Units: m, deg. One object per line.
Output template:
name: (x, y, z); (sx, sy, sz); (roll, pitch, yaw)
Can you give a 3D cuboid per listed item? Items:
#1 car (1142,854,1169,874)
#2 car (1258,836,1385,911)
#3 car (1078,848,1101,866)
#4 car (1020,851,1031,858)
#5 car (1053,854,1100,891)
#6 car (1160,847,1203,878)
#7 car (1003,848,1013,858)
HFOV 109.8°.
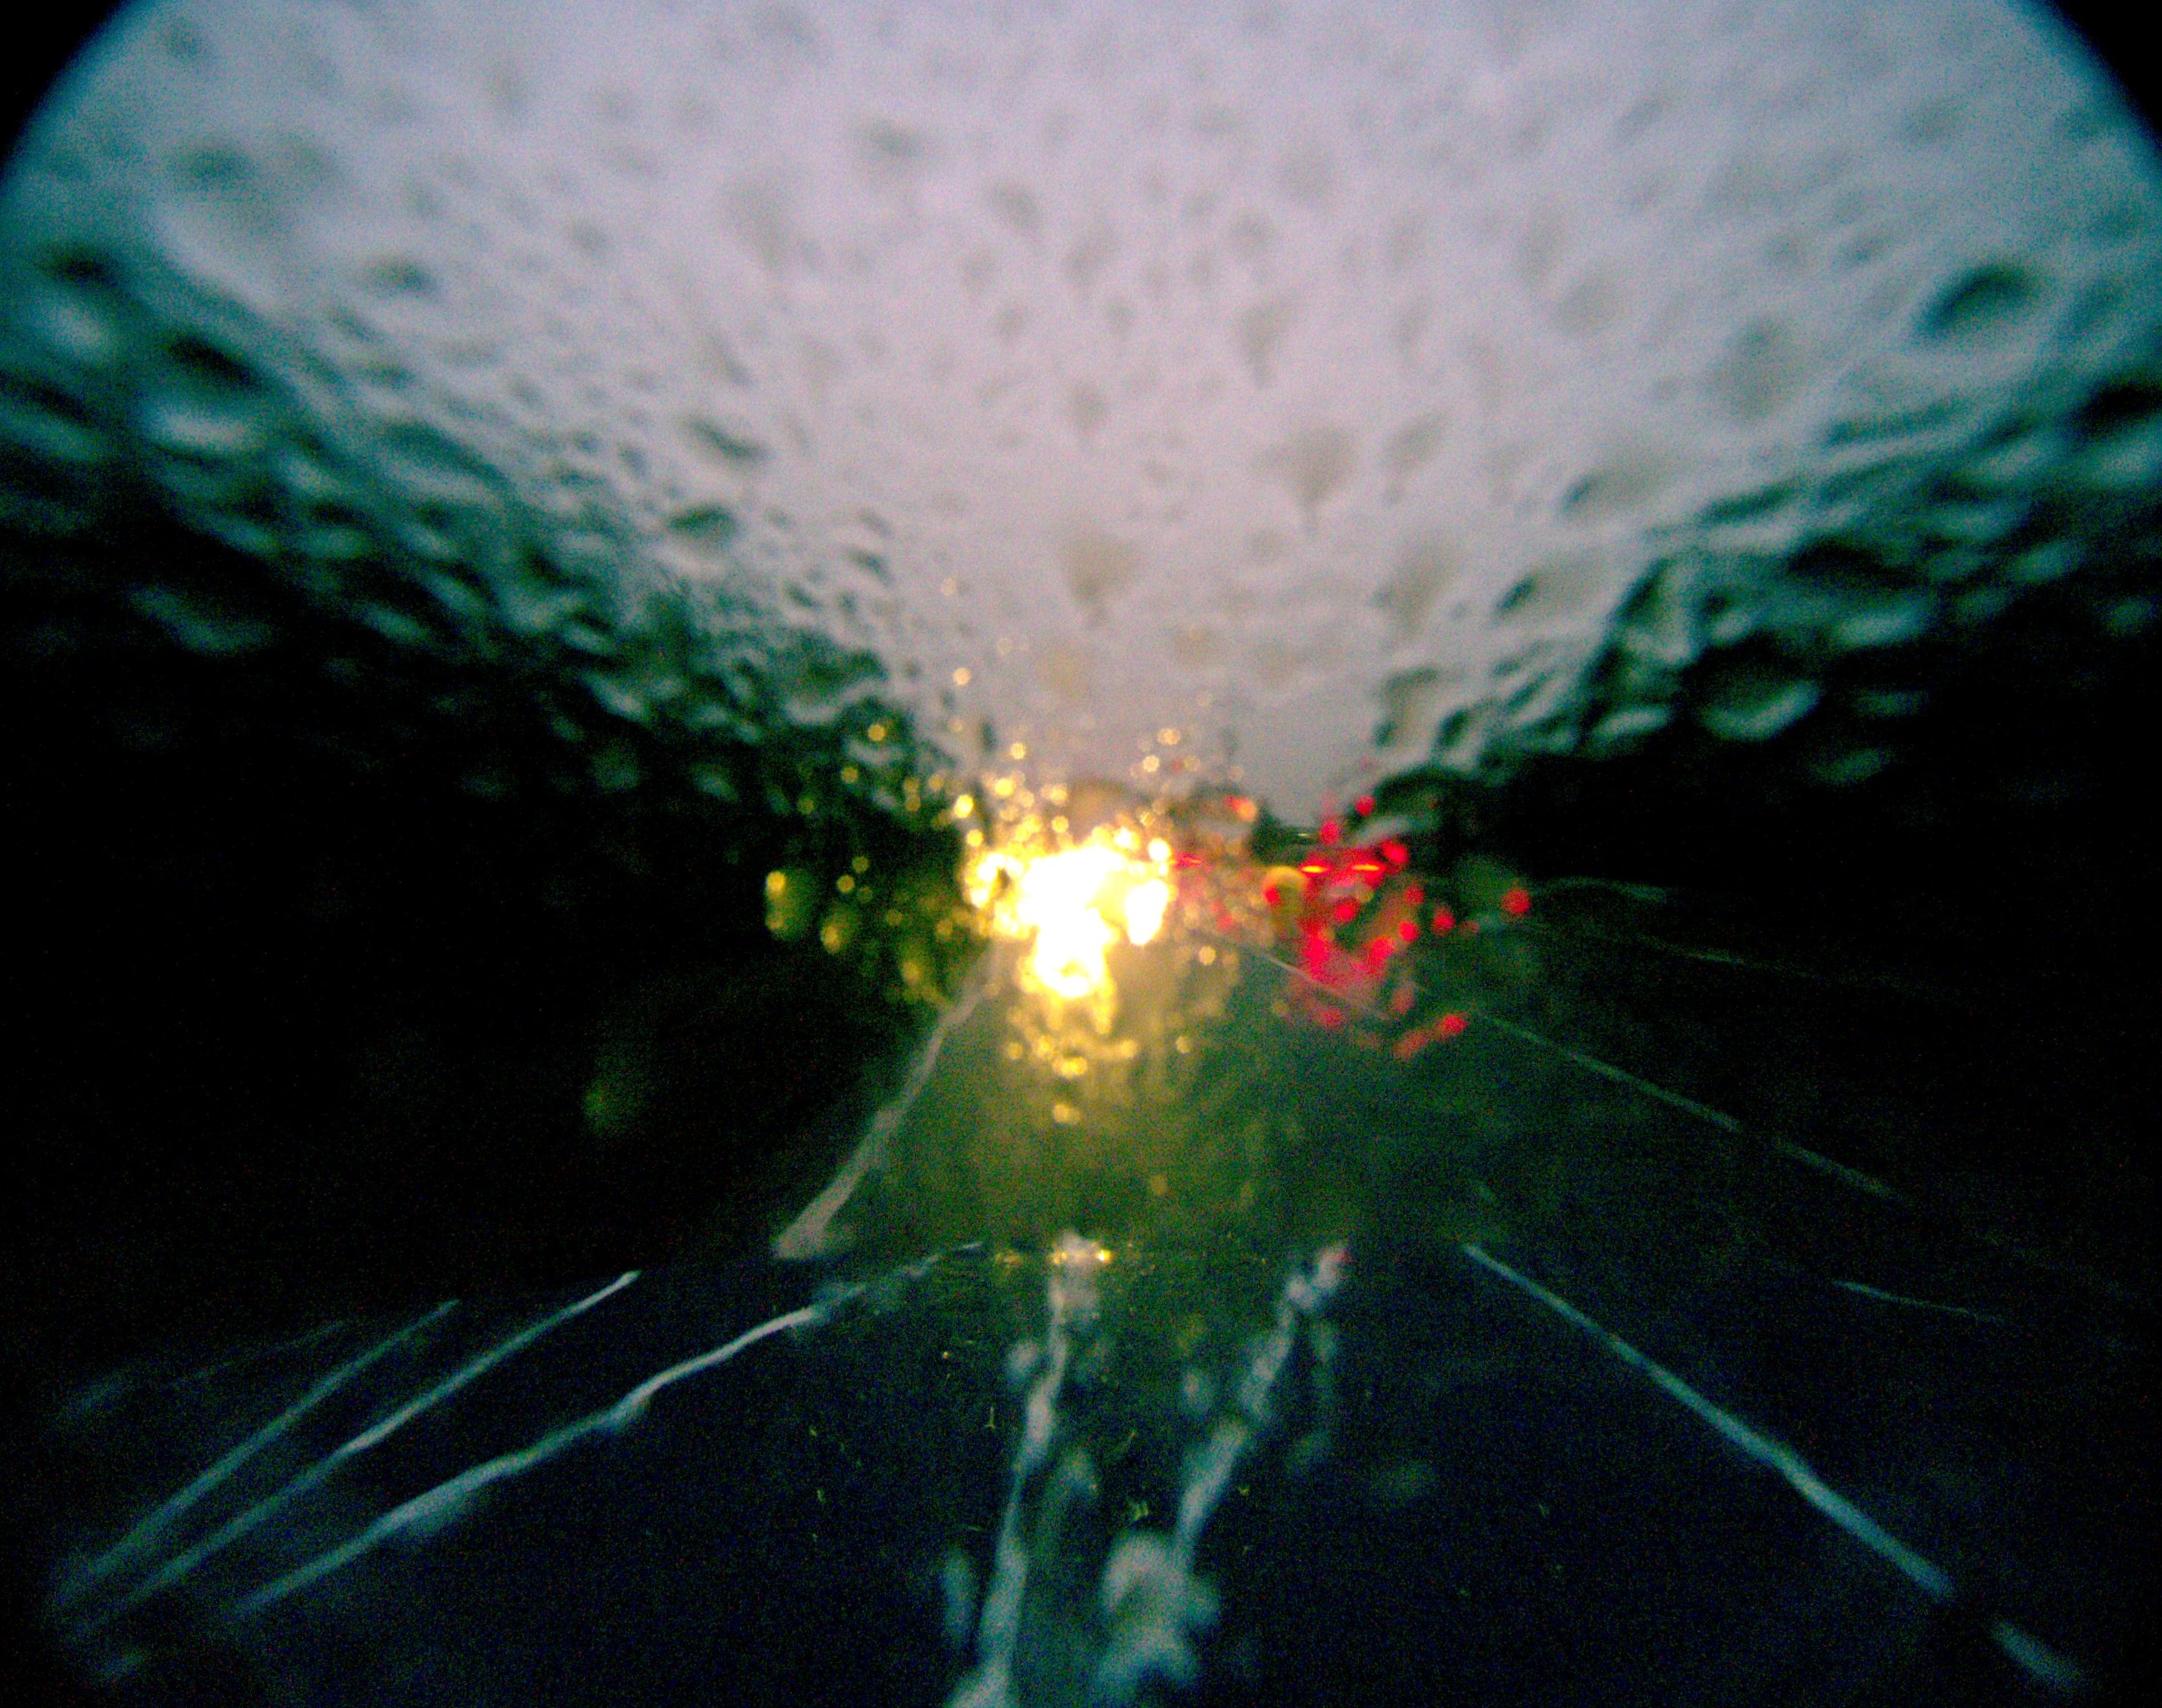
car: (5.926, 0.820, 61.017); (1.828, 1.514, 4.299); (-1, -1, 1)
car: (5.913, 0.390, 19.259); (1.864, 1.638, 4.467); (-1, 1, 1)
car: (0.800, 0.256, 73.506); (1.718, 1.617, 4.215); (-2, 1, -5)
car: (-12.260, 0.057, 167.252); (1.652, 1.547, 4.374); (-2, 1, -16)
car: (-0.267, 0.777, 34.358); (1.851, 1.429, 4.243); (-3, 1, -3)
car: (5.795, 0.473, 44.466); (1.907, 1.638, 4.727); (-2, 0, 1)
car: (-13.380, -0.144, 139.736); (1.702, 1.721, 3.997); (-2, 2, -4)
